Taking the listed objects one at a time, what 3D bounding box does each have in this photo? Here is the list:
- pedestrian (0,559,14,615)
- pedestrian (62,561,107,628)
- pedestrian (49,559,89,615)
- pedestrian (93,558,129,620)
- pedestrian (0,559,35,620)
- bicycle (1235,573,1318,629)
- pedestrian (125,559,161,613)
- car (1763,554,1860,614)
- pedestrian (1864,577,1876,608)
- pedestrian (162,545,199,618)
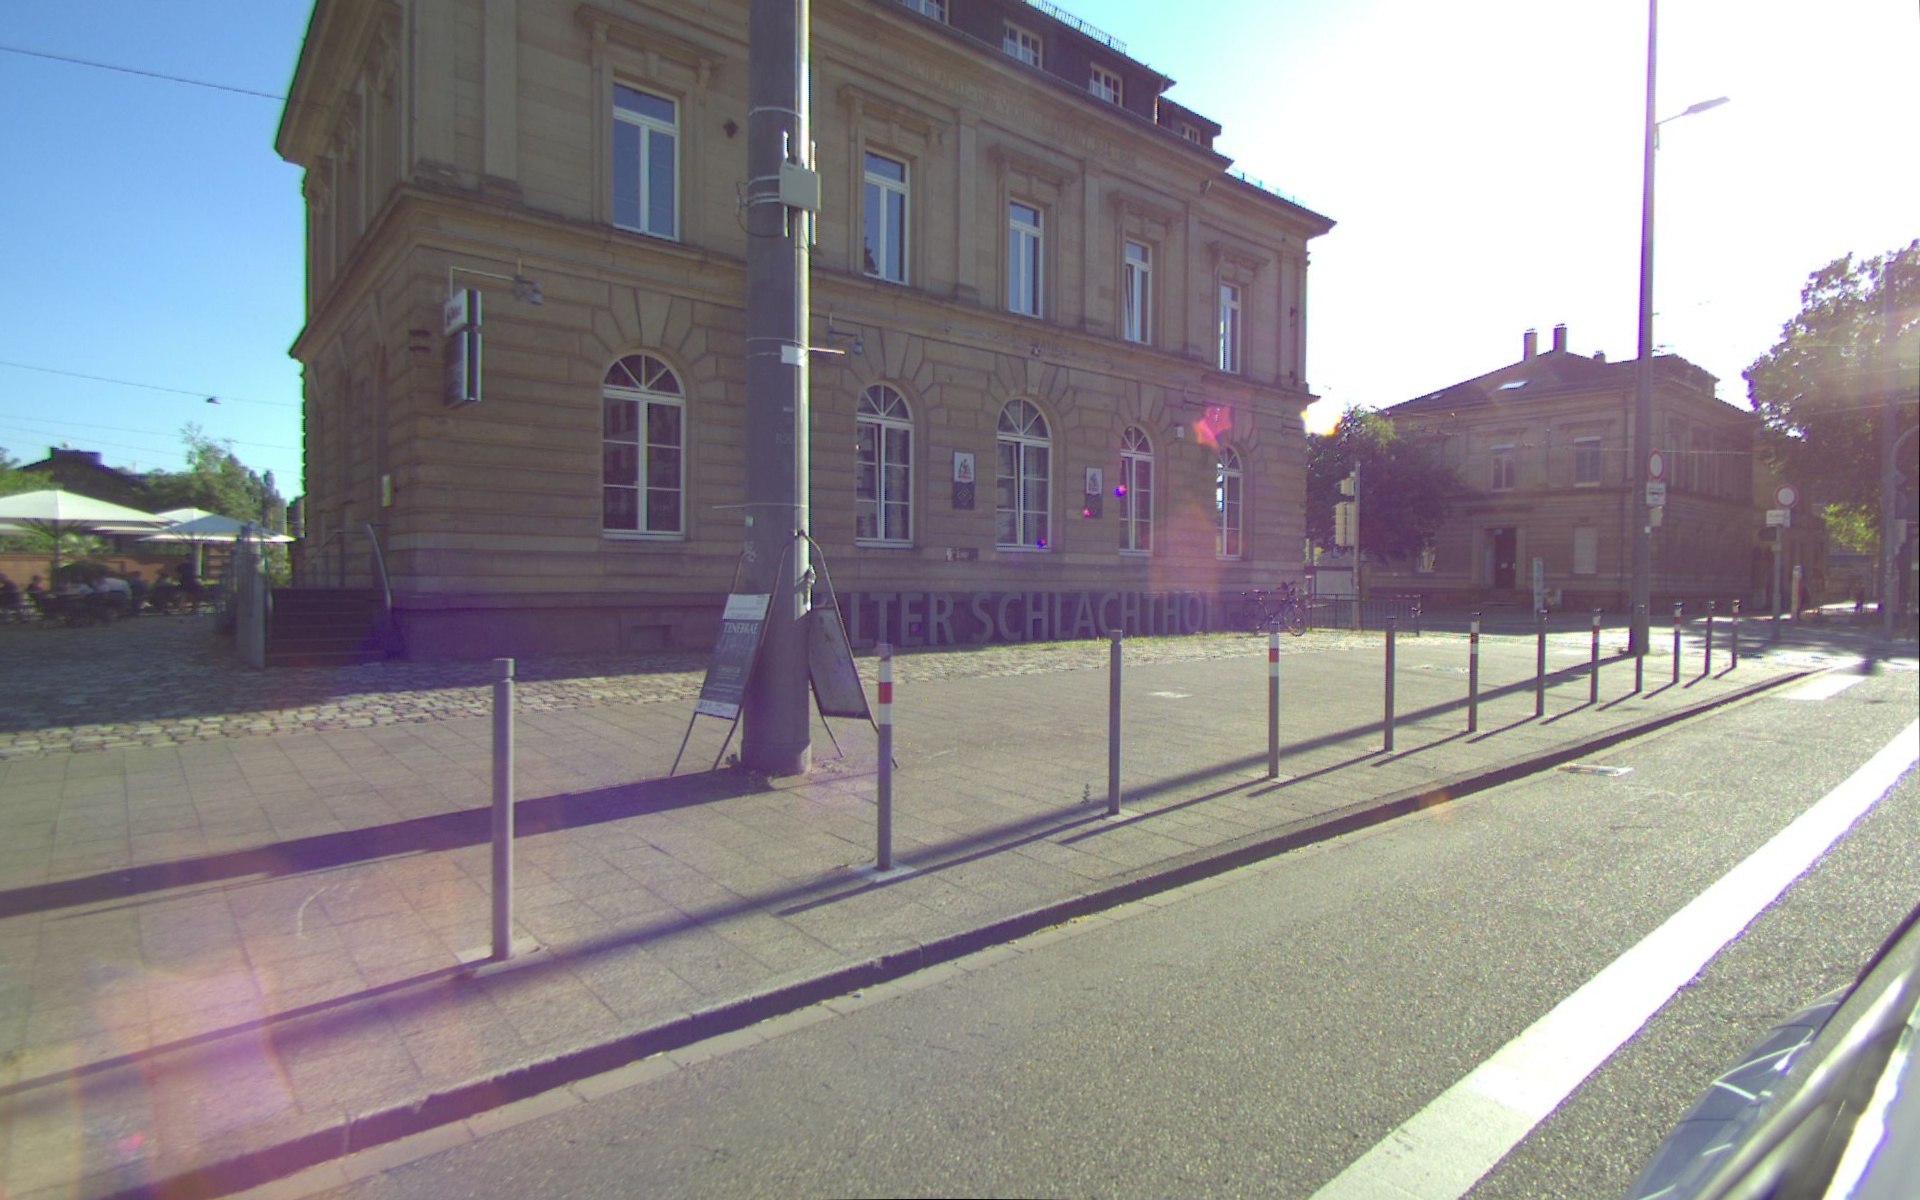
[{"bbox_3d":[-26.188,-0.354,27.412,0.825,1.484,0.663,-1,3,-44],"label":"pedestrian"},{"bbox_3d":[-20.094,-0.137,23.220,0.836,1.484,0.655,3,3,40],"label":"pedestrian"},{"bbox_3d":[-24.483,-0.379,27.804,0.835,1.484,0.656,3,3,37],"label":"pedestrian"},{"bbox_3d":[-21.135,-0.294,25.185,0.653,1.484,0.838,-1,3,-42],"label":"pedestrian"},{"bbox_3d":[-23.510,-0.267,25.002,0.823,1.484,0.665,0,3,-30],"label":"pedestrian"},{"bbox_3d":[7.137,-0.006,22.882,0.678,1.195,1.649,-1,3,-41],"label":"bicycle"},{"bbox_3d":[-23.123,-0.410,28.639,0.836,1.484,0.655,3,3,40],"label":"pedestrian"},{"bbox_3d":[30.698,-0.601,36.448,3.926,2.072,1.834,-1,1,-36],"label":"car"},{"bbox_3d":[48.435,-0.406,53.865,0.383,1.665,0.364,0,1,-39],"label":"pedestrian"},{"bbox_3d":[-19.316,-0.478,25.091,0.653,1.765,0.838,-1,3,-43],"label":"pedestrian"}]
